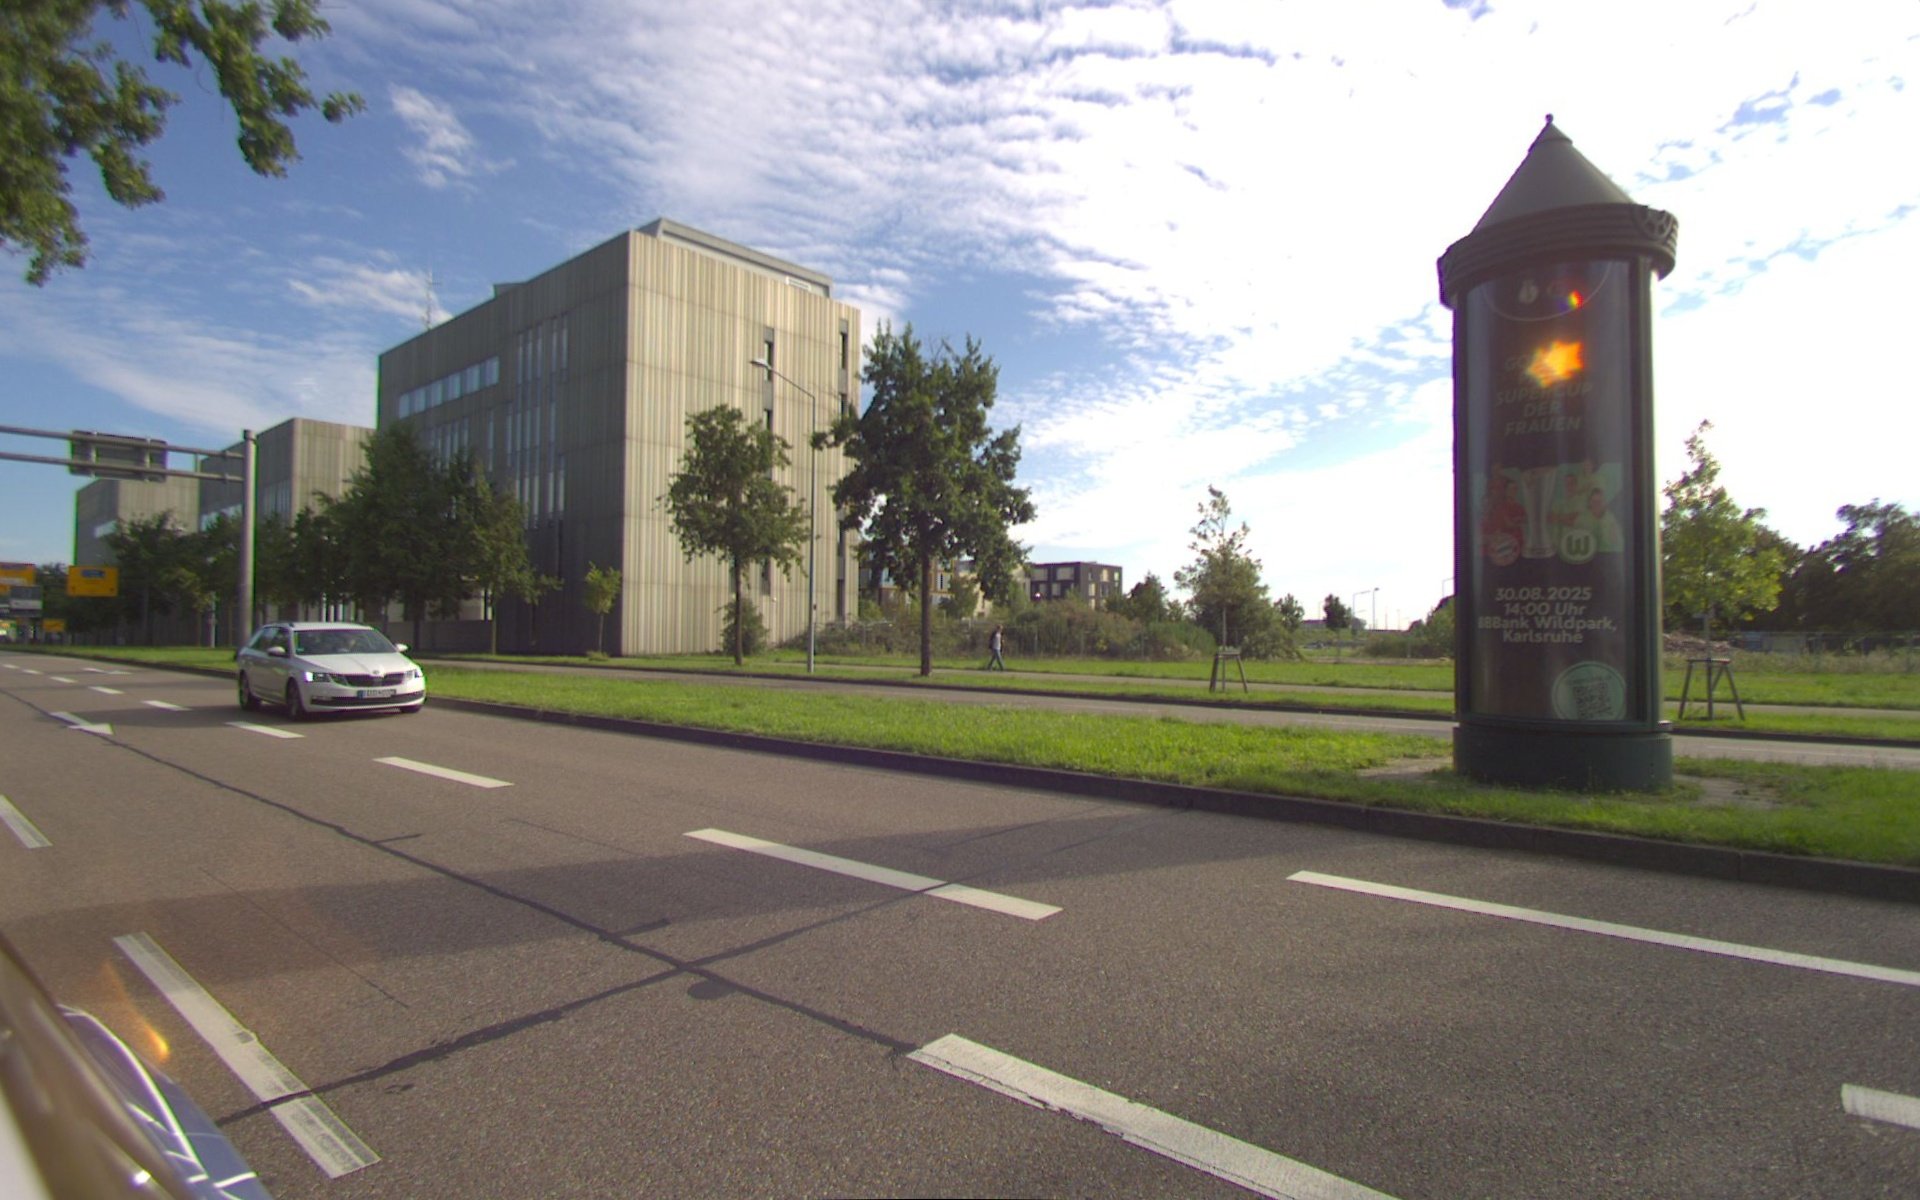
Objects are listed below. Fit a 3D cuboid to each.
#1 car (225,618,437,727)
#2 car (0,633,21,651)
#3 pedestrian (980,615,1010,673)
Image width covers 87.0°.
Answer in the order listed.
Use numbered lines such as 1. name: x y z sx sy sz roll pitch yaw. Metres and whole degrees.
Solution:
1. car: -10.224 1.067 16.312 4.479 1.510 1.681 -1 -2 41
2. car: -107.528 4.746 114.091 3.998 2.029 1.973 -2 -3 41
3. pedestrian: 1.251 1.578 36.307 0.867 2.029 0.667 -2 -3 41
